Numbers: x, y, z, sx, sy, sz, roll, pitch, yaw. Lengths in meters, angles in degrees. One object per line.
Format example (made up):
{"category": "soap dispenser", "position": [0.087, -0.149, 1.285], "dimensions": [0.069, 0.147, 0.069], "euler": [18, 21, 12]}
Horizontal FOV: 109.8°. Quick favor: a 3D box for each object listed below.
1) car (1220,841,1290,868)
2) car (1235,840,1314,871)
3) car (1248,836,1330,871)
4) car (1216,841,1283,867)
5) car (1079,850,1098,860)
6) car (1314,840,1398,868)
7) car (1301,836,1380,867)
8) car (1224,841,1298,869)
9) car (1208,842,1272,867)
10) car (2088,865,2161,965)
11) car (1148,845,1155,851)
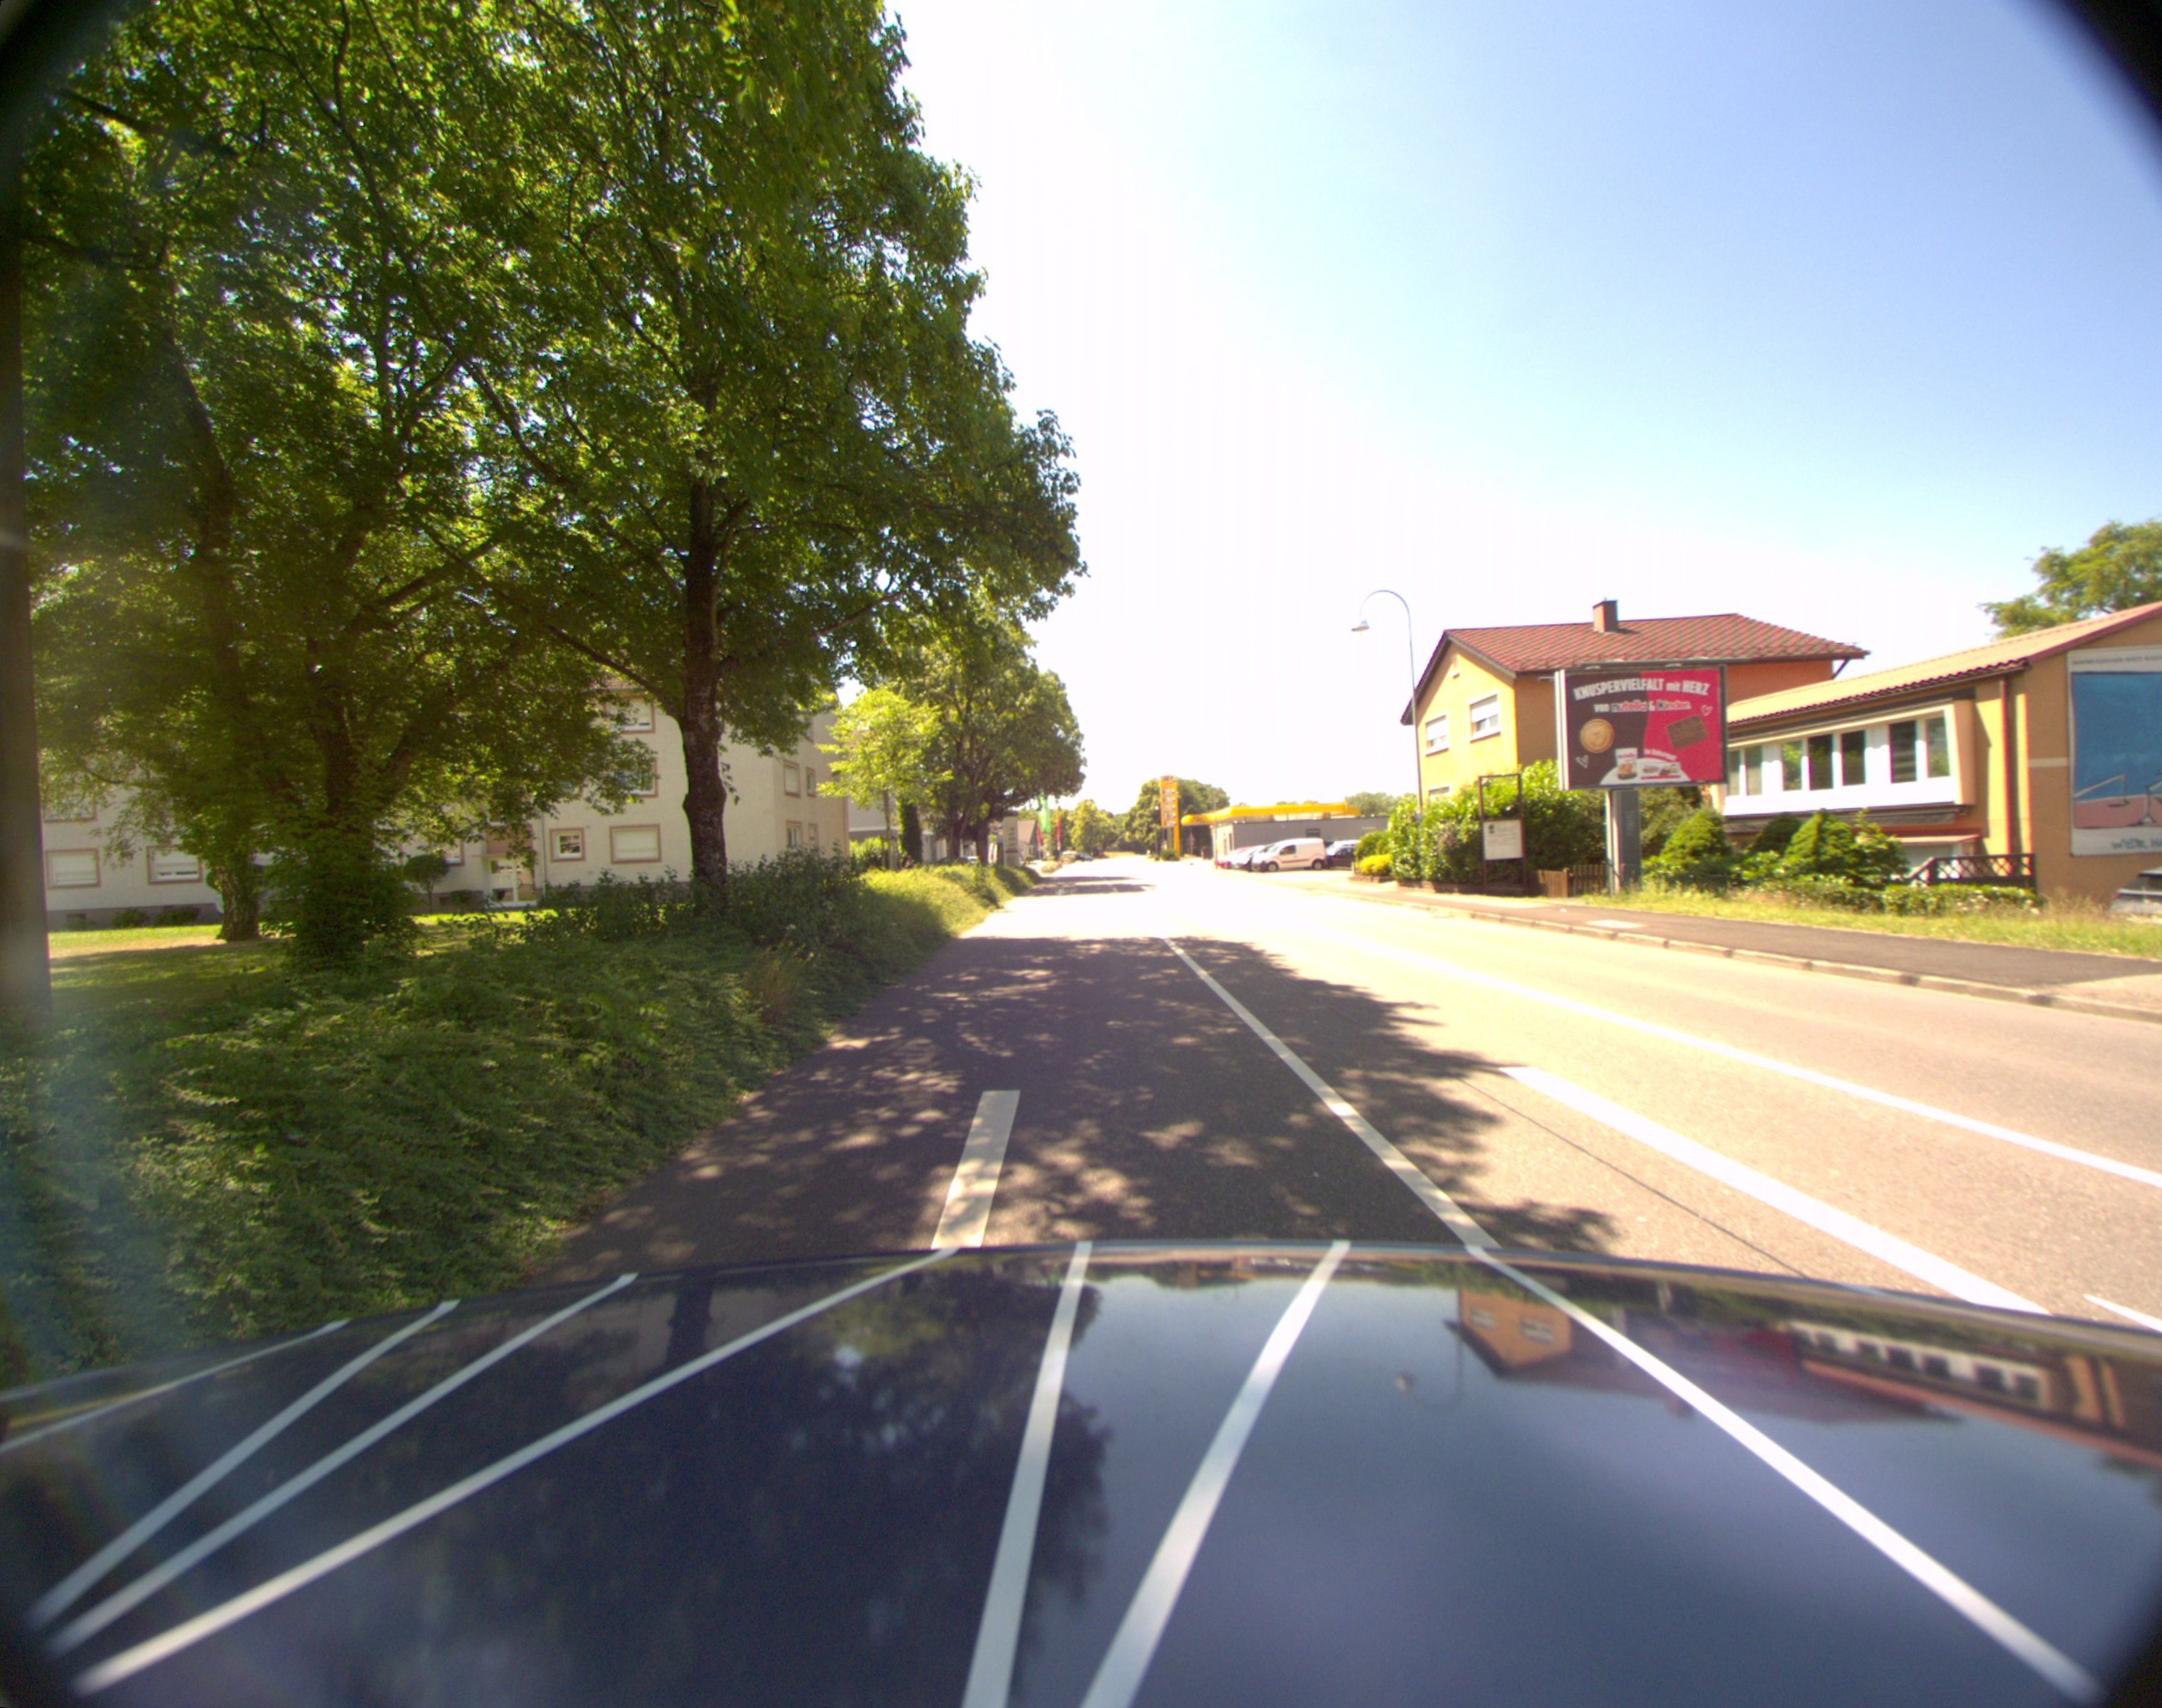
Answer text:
{"category": "car", "position": [12.194, 0.027, 53.274], "dimensions": [4.402, 1.750, 1.874], "euler": [-2, 1, -5]}
{"category": "car", "position": [11.807, 0.055, 46.493], "dimensions": [4.246, 1.750, 1.874], "euler": [-2, 1, -5]}
{"category": "car", "position": [12.097, -0.031, 44.407], "dimensions": [4.191, 1.858, 1.874], "euler": [-2, 1, -5]}
{"category": "car", "position": [12.252, 0.002, 55.443], "dimensions": [4.402, 1.750, 1.874], "euler": [-2, 1, -5]}
{"category": "car", "position": [1.118, 0.175, 118.201], "dimensions": [1.773, 1.521, 4.124], "euler": [-2, 1, -17]}
{"category": "car", "position": [16.743, 0.014, 46.358], "dimensions": [4.402, 1.554, 1.874], "euler": [-2, 1, -5]}
{"category": "car", "position": [16.575, -0.161, 48.598], "dimensions": [4.402, 1.815, 1.874], "euler": [-2, 1, -5]}
{"category": "car", "position": [12.056, 0.057, 51.063], "dimensions": [4.402, 1.750, 1.874], "euler": [-2, 1, -5]}
{"category": "car", "position": [12.121, 0.046, 58.024], "dimensions": [4.402, 1.750, 1.874], "euler": [-2, 1, -5]}
{"category": "car", "position": [19.940, 0.983, 12.403], "dimensions": [4.224, 1.599, 1.772], "euler": [-1, 1, 7]}
{"category": "car", "position": [22.896, -1.967, 246.698], "dimensions": [1.808, 1.552, 4.065], "euler": [-2, 1, 8]}
